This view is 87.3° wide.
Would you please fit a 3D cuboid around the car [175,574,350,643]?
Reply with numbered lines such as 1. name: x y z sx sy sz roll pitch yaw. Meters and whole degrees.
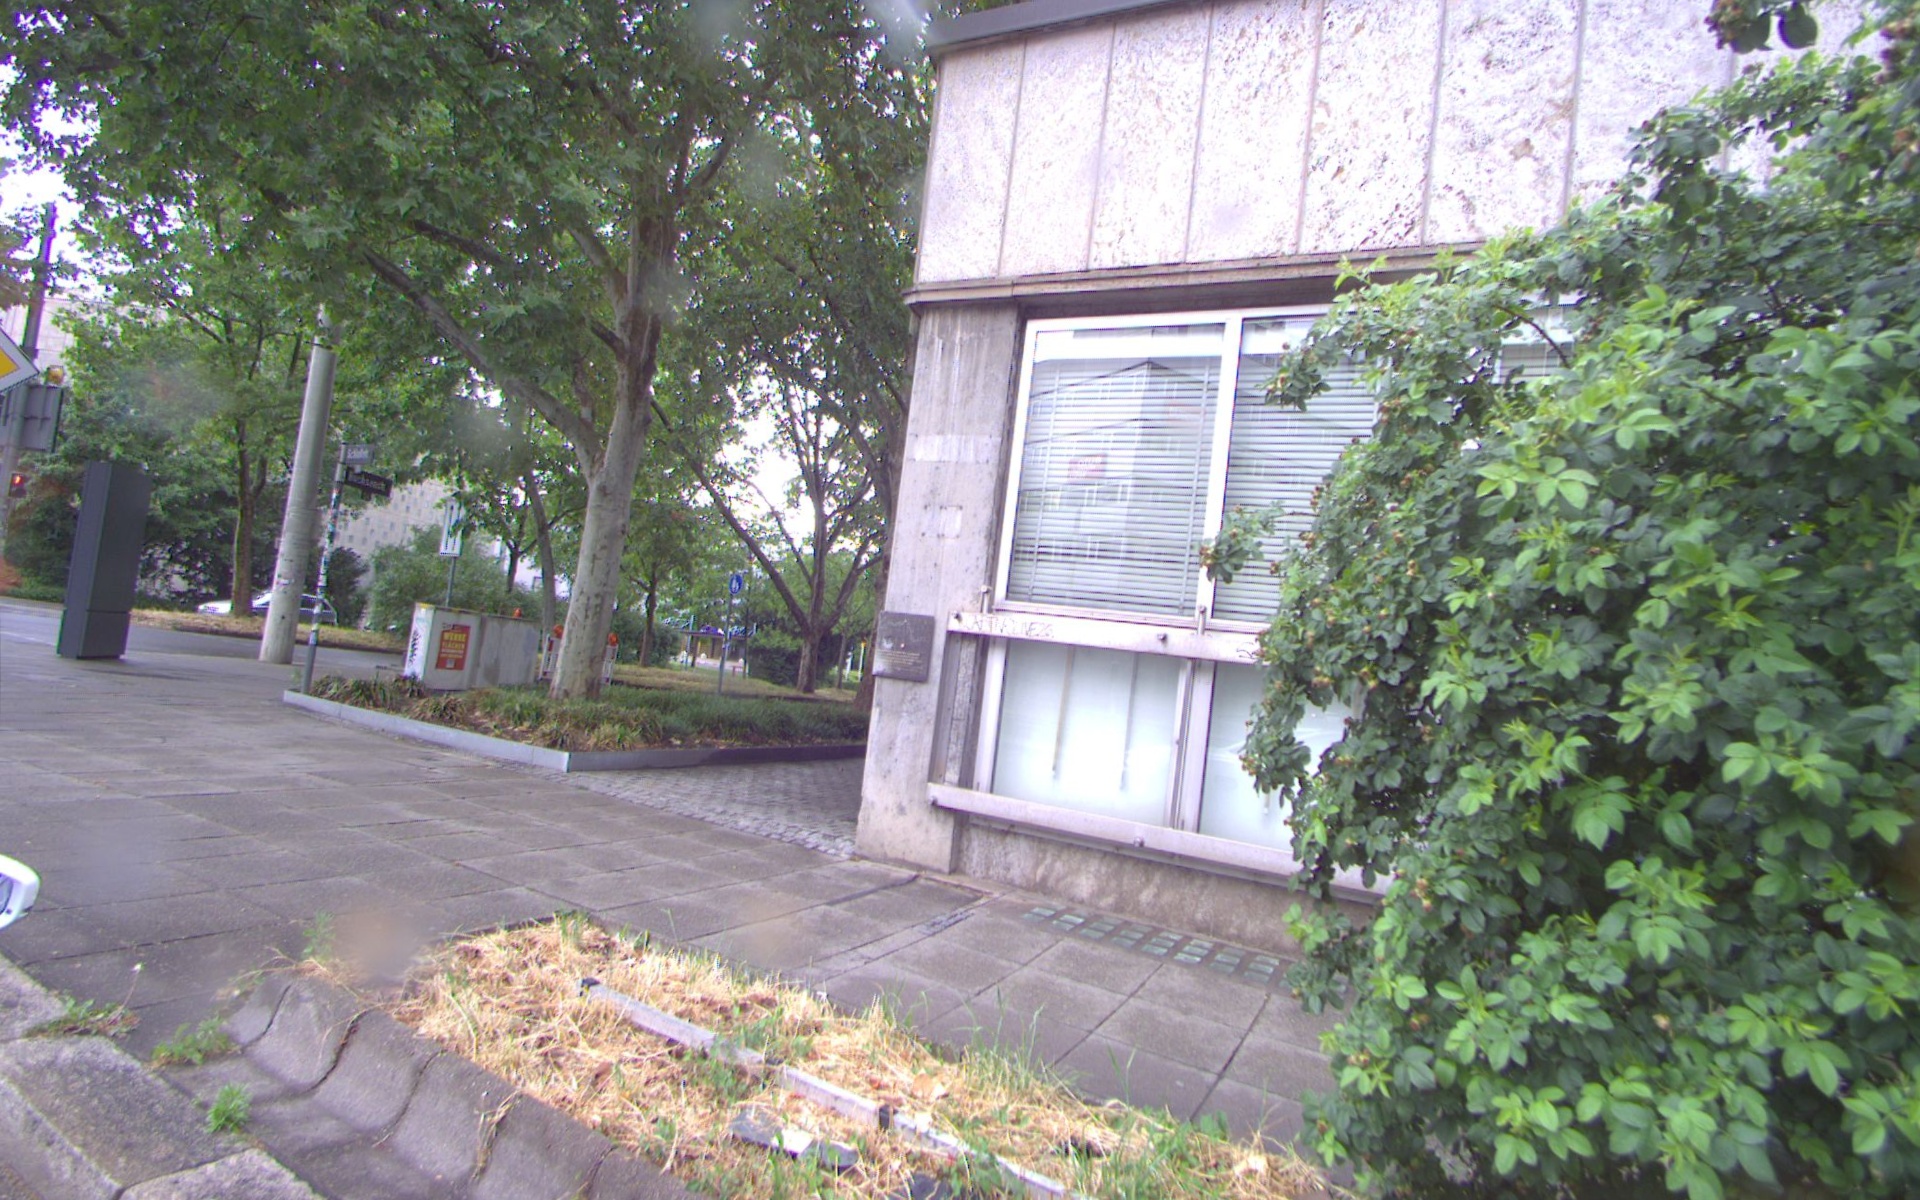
1. car: -22.029 0.313 31.952 1.964 1.456 4.007 6 -6 25
